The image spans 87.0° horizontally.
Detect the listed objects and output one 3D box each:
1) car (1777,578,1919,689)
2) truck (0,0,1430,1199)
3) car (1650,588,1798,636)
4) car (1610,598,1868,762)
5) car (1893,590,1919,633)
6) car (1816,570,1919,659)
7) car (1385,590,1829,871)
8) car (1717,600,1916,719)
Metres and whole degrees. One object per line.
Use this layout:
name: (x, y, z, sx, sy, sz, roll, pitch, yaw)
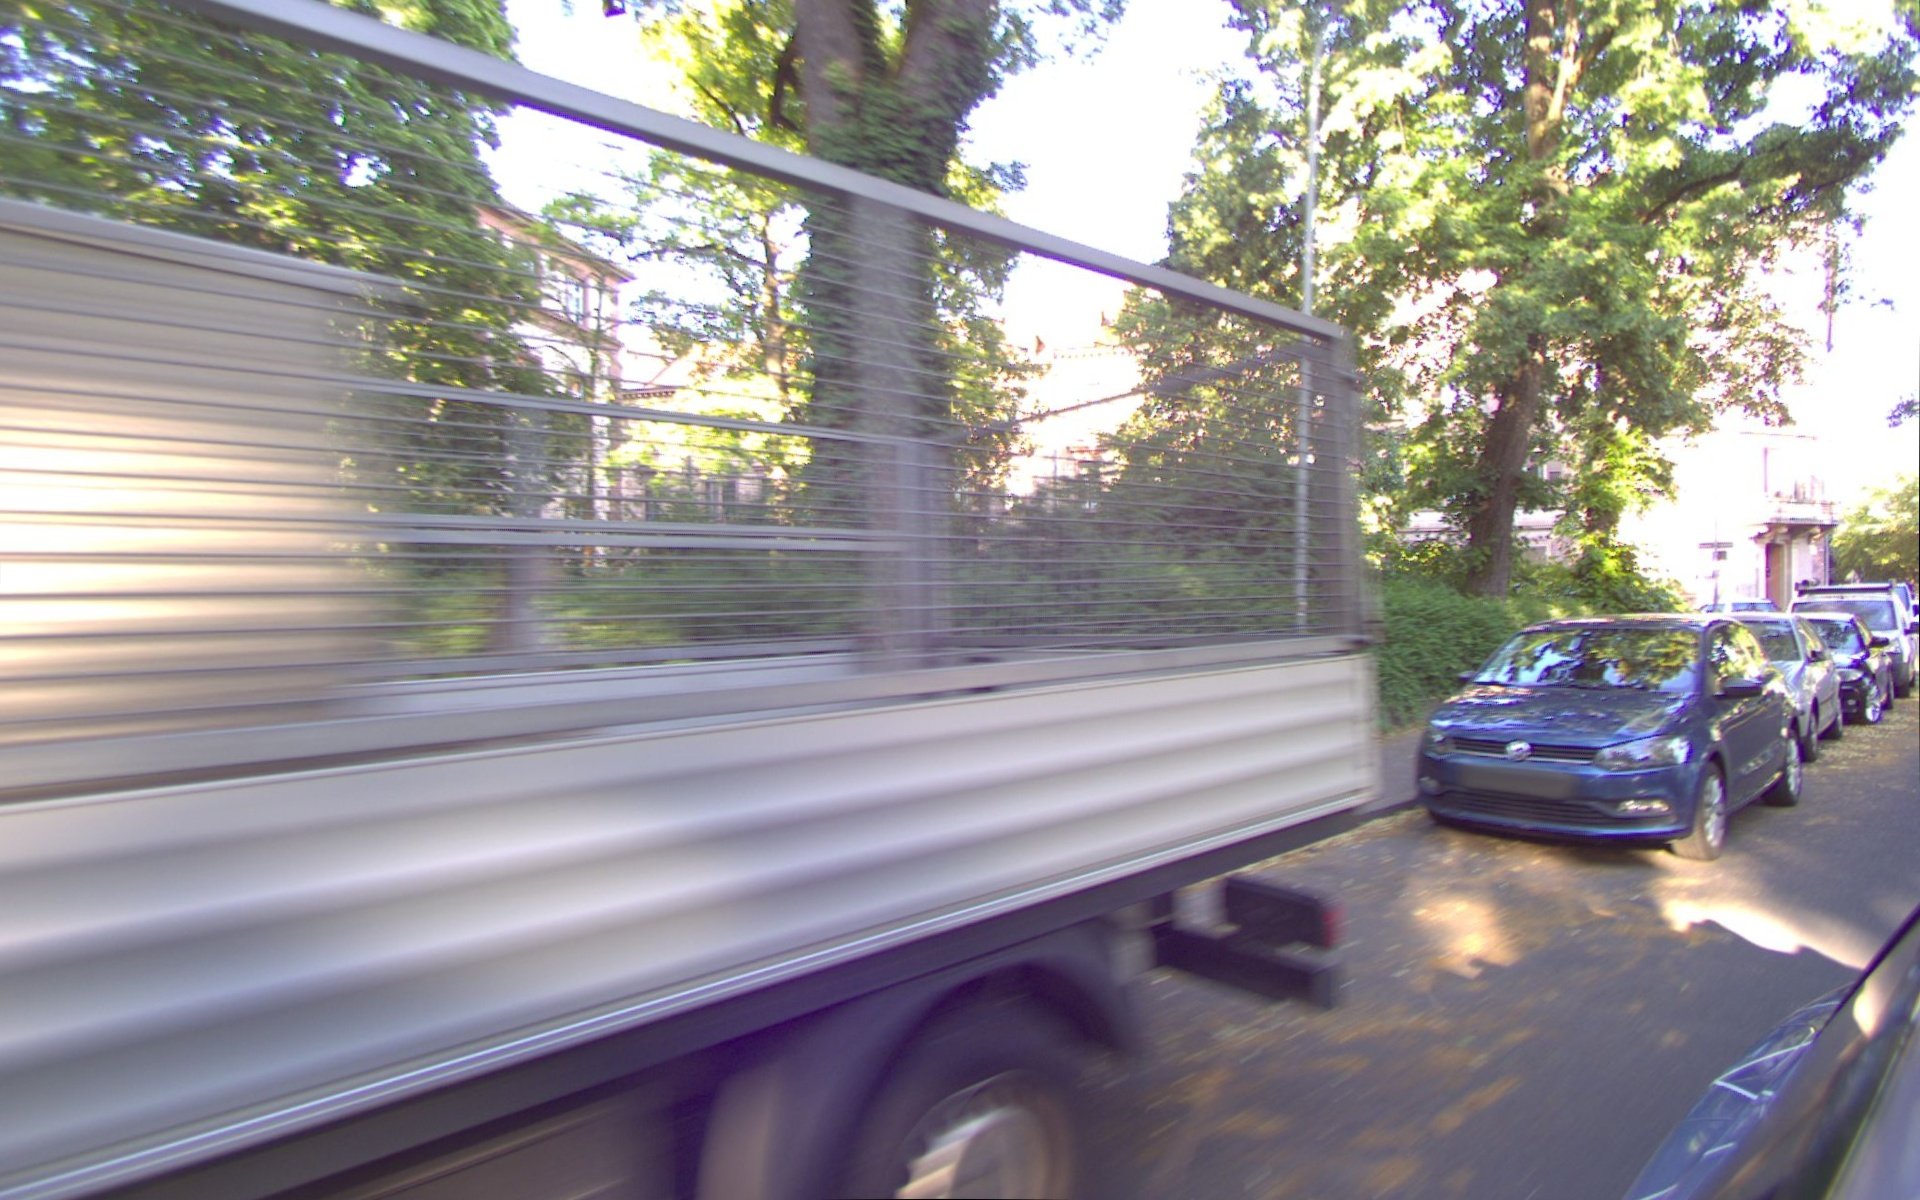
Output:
car: (15.884, 0.511, 17.852, 4.305, 1.729, 1.788, 0, 0, -44)
truck: (-1.971, 0.304, 1.630, 6.811, 2.416, 2.300, 0, 0, -40)
car: (28.059, 0.461, 37.292, 3.947, 1.669, 1.673, -1, -3, 18)
car: (8.703, 0.736, 11.197, 3.828, 1.477, 1.674, 0, 0, -43)
car: (39.849, 0.411, 41.482, 1.931, 1.643, 4.185, -5, -2, 38)
car: (22.251, 0.312, 24.673, 1.964, 1.960, 5.373, -1, 0, 42)
car: (4.760, 0.681, 7.229, 3.826, 1.477, 1.675, 0, 0, -41)
car: (12.134, 0.727, 14.248, 4.194, 1.408, 1.674, 0, 0, -43)
